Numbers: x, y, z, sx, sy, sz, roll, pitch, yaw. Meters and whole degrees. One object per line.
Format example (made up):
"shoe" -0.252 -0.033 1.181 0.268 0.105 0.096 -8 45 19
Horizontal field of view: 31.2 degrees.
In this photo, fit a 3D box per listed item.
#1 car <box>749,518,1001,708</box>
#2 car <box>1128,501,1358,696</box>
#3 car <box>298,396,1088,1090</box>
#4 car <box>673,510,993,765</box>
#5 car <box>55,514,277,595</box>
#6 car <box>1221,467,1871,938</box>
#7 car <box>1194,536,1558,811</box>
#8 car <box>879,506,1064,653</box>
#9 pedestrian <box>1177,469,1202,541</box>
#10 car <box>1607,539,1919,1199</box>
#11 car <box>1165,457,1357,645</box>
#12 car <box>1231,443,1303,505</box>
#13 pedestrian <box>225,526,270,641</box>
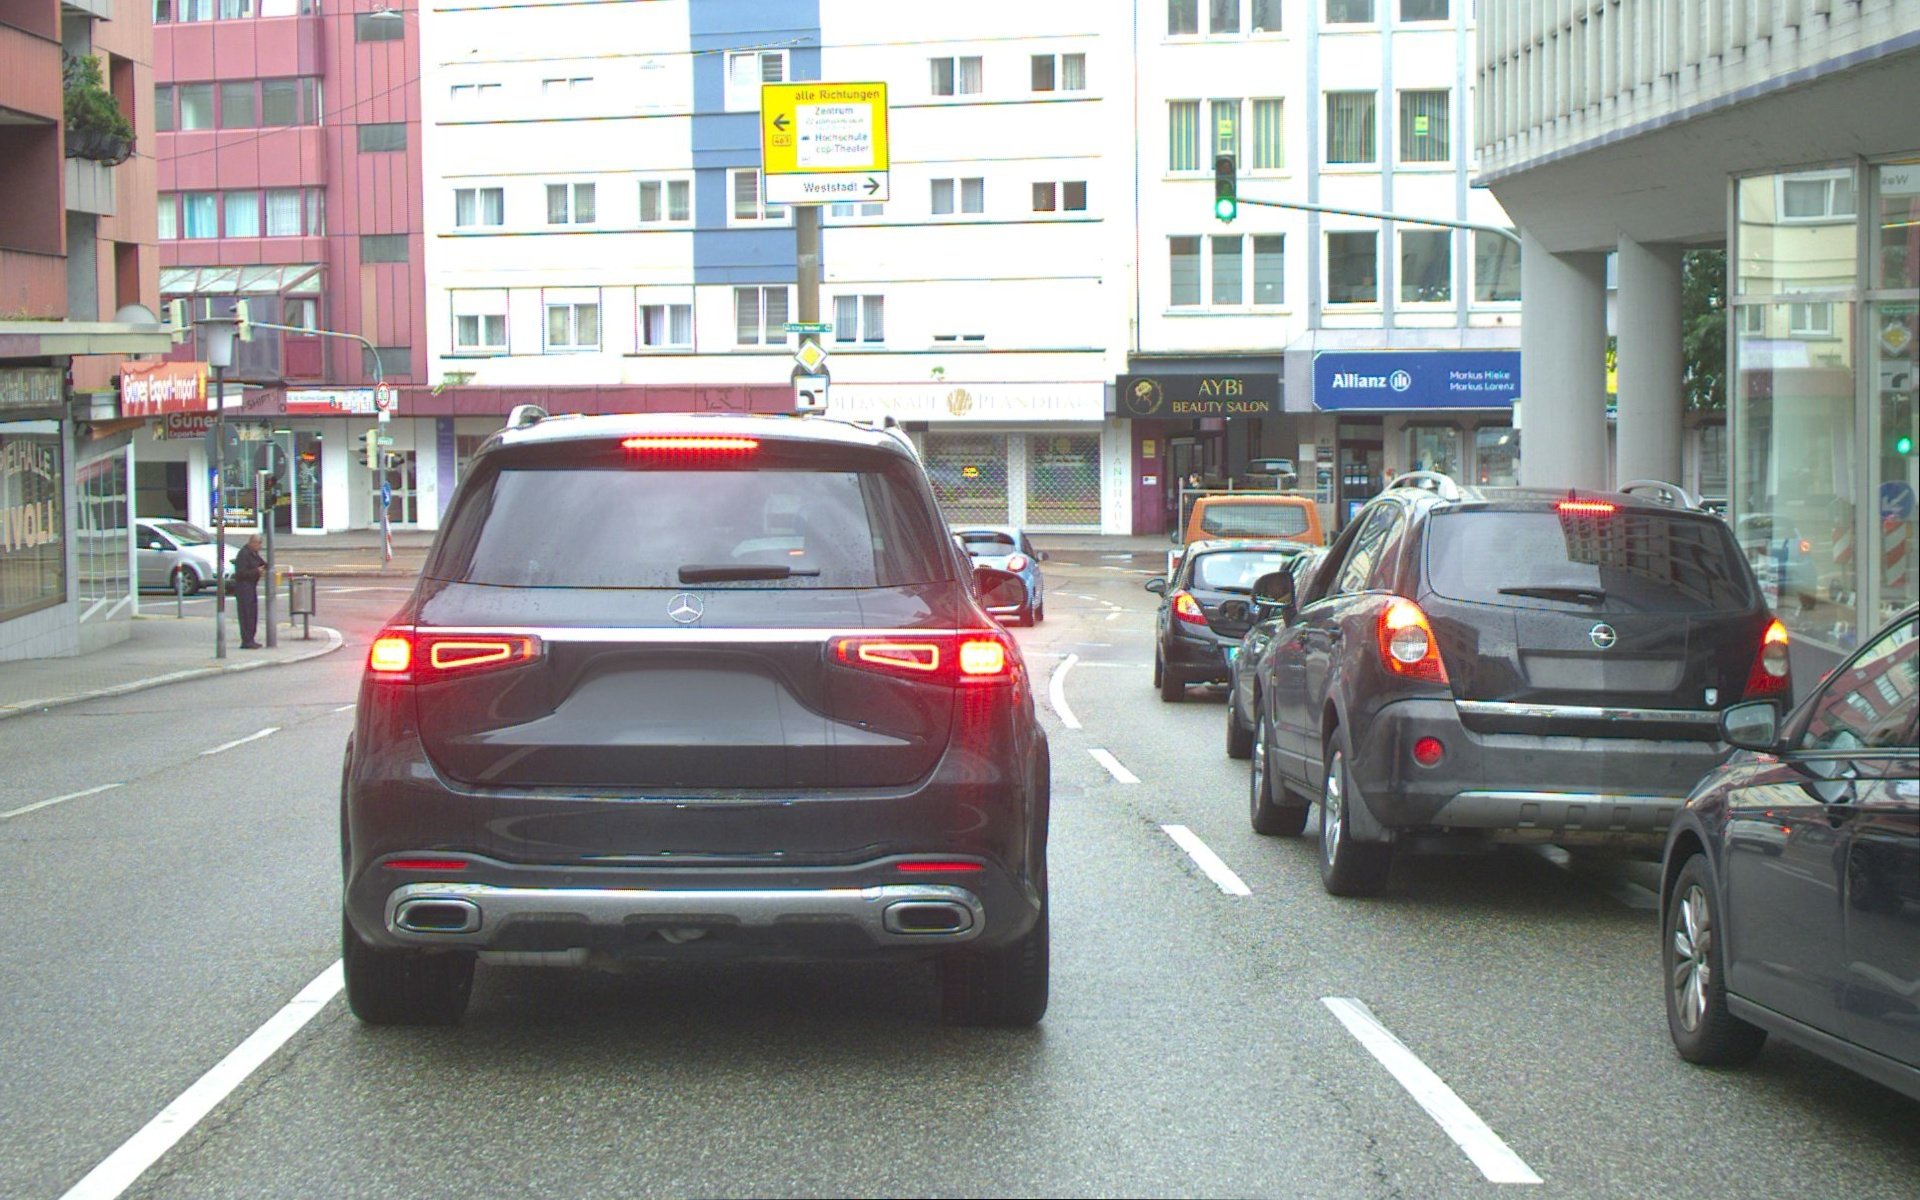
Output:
"car" -0.700 0.054 29.670 1.993 1.481 4.237 -1 1 -1
"car" 2.555 -0.036 31.968 1.823 1.653 4.495 1 1 1
"car" -0.788 0.318 11.311 2.038 1.792 4.663 1 1 -2
"car" -0.838 0.168 22.559 1.873 1.489 4.401 1 1 -2
"car" -16.541 -0.963 71.618 4.165 1.587 1.740 2 2 15
"car" 2.374 0.330 15.171 1.897 1.689 4.506 3 1 -2
"car" 2.518 0.383 21.676 1.767 1.392 4.000 5 2 1
"car" 0.091 -0.215 38.959 1.924 1.510 4.663 2 0 -1
"pedestrian" 5.595 -2.321 83.700 0.564 1.683 0.756 -1 7 6
"car" 2.923 0.641 8.478 1.688 1.472 4.001 3 1 -2
"car" 3.778 -0.646 44.011 2.243 2.220 5.428 1 1 3
"car" 8.619 -3.520 96.249 1.797 1.664 3.999 -1 2 8
"pedestrian" -10.601 -0.249 51.172 0.554 1.691 0.624 0 1 -4
